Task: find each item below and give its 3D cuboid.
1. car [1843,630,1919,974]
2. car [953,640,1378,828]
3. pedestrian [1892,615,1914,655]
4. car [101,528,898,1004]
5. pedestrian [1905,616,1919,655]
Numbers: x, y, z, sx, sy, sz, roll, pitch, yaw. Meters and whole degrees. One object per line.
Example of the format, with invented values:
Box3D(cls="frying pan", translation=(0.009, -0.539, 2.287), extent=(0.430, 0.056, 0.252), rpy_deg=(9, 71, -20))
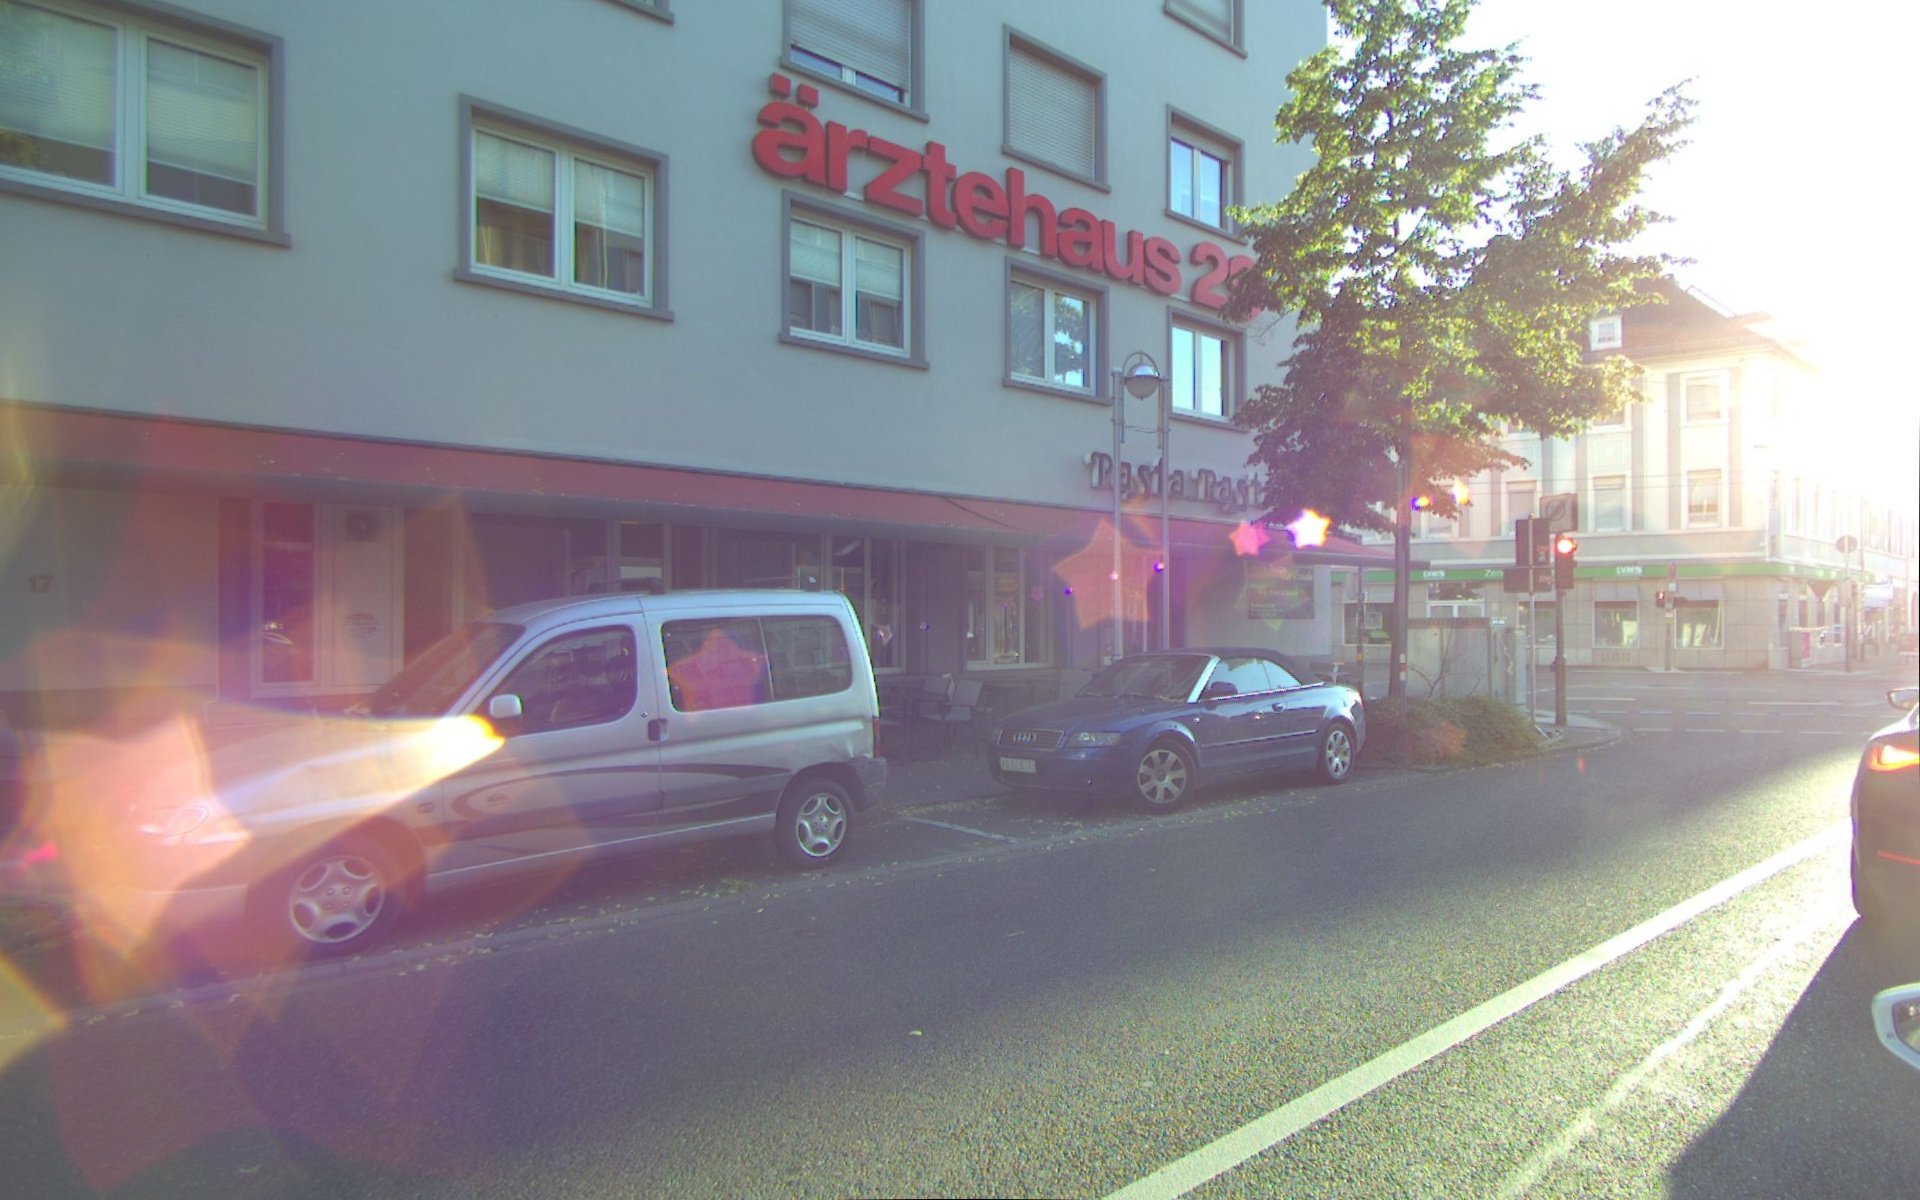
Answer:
Box3D(cls="car", translation=(6.067, 0.899, 5.110), extent=(4.188, 1.447, 1.723), rpy_deg=(1, -1, -39))
Box3D(cls="car", translation=(2.120, 1.121, 9.694), extent=(4.244, 1.434, 1.710), rpy_deg=(2, -4, -39))
Box3D(cls="pedestrian", translation=(46.321, 1.717, 49.340), extent=(0.626, 1.901, 0.638), rpy_deg=(1, 0, -38))
Box3D(cls="car", translation=(-2.471, 0.752, 6.019), extent=(4.022, 1.912, 1.655), rpy_deg=(2, -4, -41))
Box3D(cls="pedestrian", translation=(47.253, 1.738, 49.544), extent=(0.607, 1.901, 0.677), rpy_deg=(1, 0, -12))
